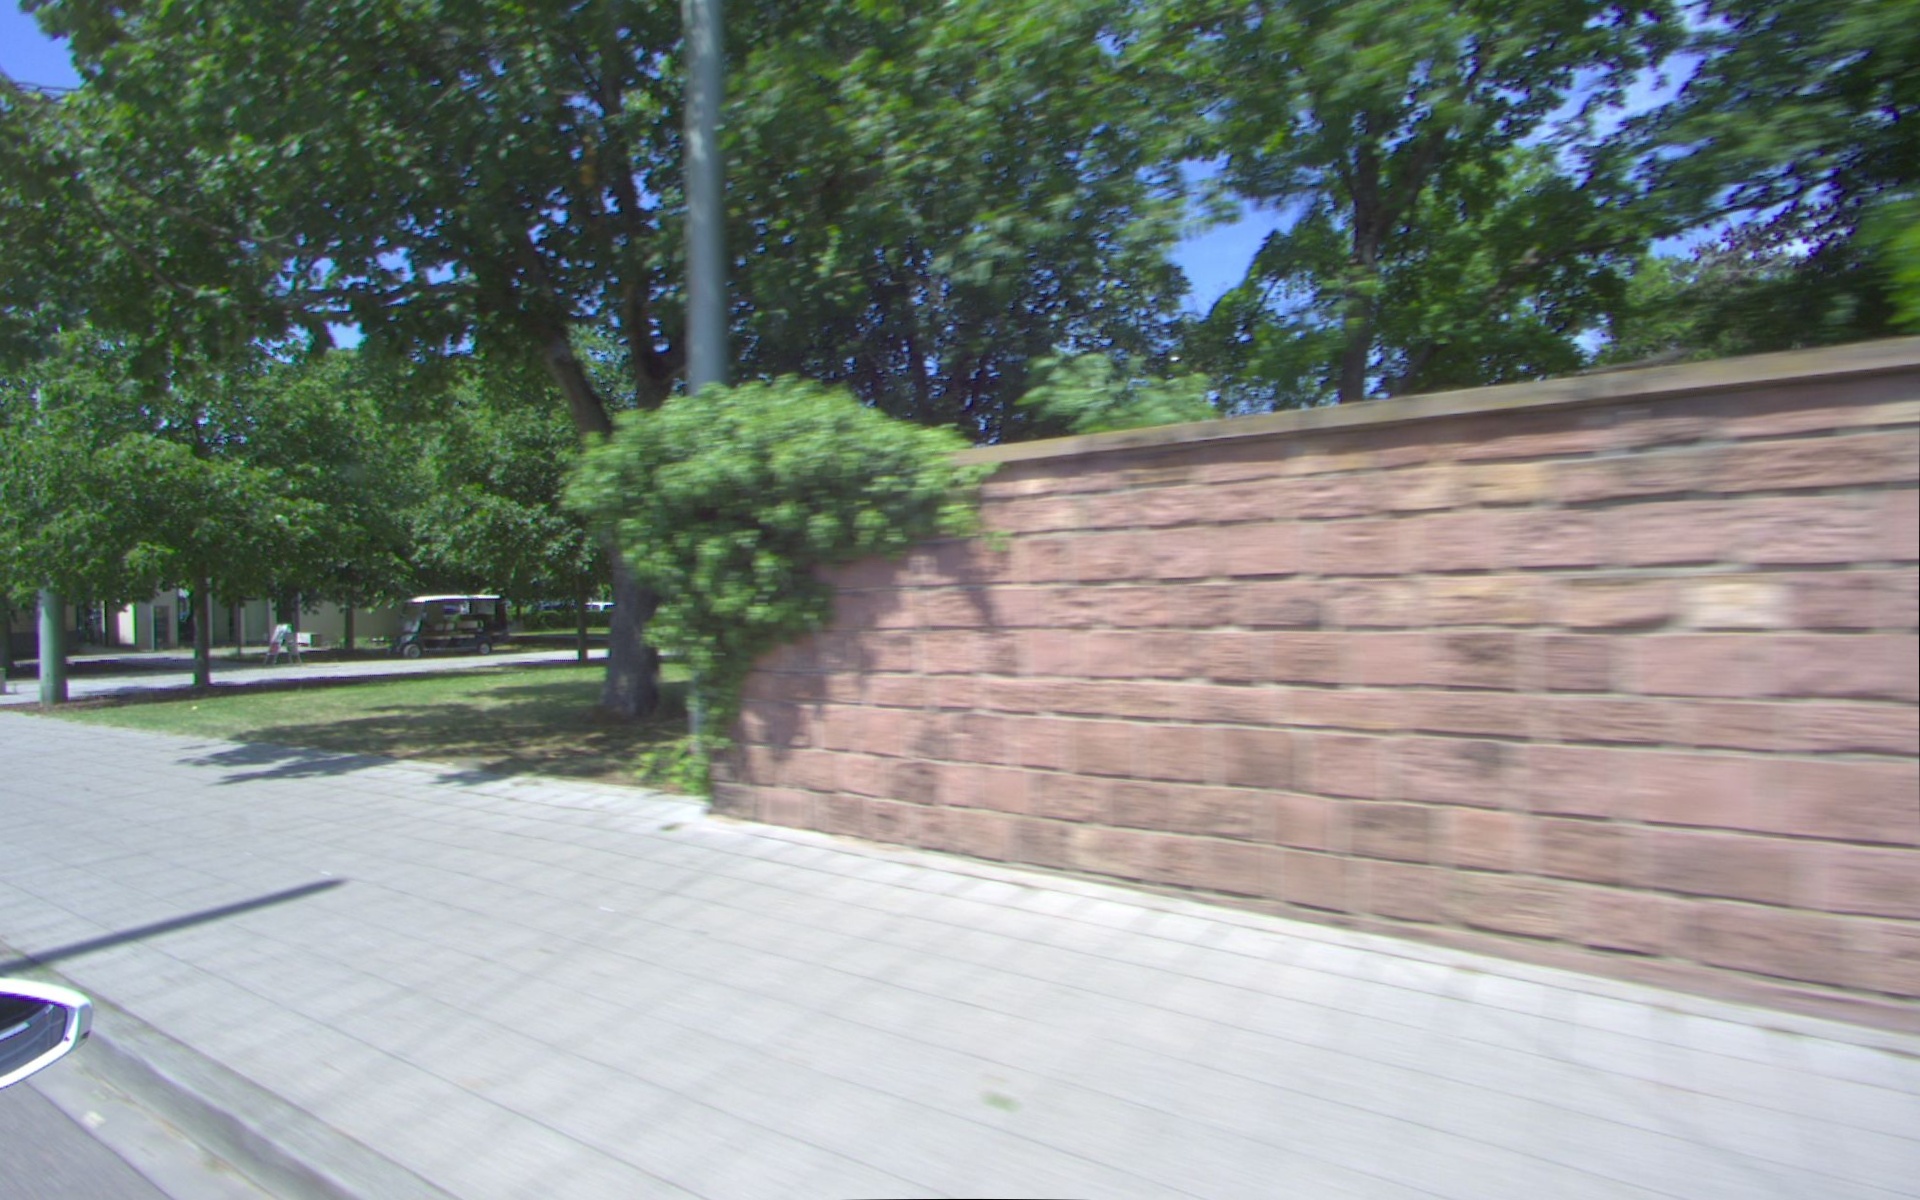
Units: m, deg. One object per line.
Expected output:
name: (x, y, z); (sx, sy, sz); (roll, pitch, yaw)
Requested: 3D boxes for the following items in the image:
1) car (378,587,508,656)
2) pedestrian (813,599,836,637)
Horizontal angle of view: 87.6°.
car: (-16.227, 0.653, 31.575); (1.444, 2.040, 3.322); (-2, 0, 34)
pedestrian: (-6.421, 0.843, 47.420); (0.758, 1.817, 0.770); (0, 1, 31)
